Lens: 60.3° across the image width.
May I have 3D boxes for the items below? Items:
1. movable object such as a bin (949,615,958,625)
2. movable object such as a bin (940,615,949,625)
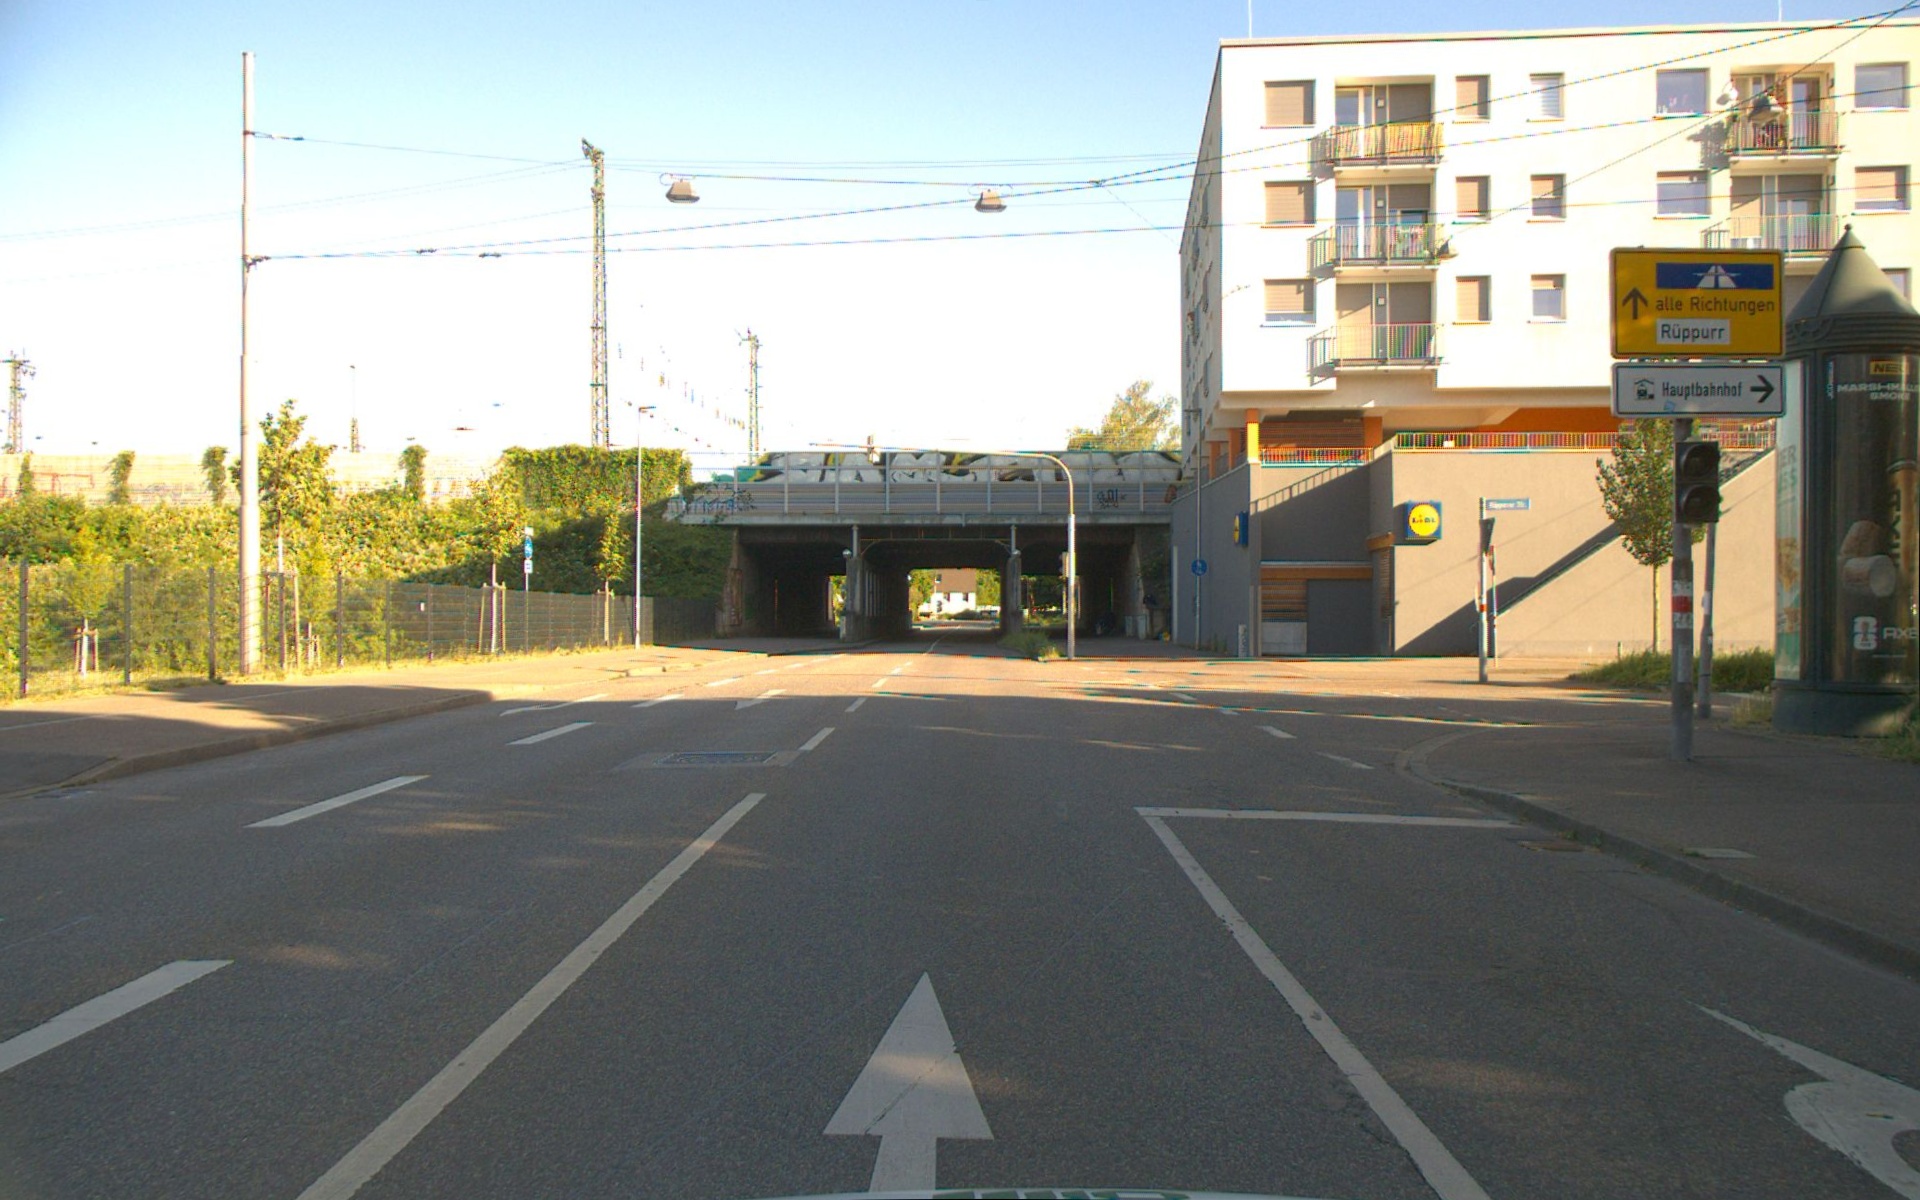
[{"bbox_3d":[-1.006,3.076,251.959,1.339,1.443,1.064,2,-1,-6],"label":"movable object such as a bin"},{"bbox_3d":[-2.364,3.027,251.727,1.339,1.443,1.064,2,-1,-6],"label":"movable object such as a bin"}]
